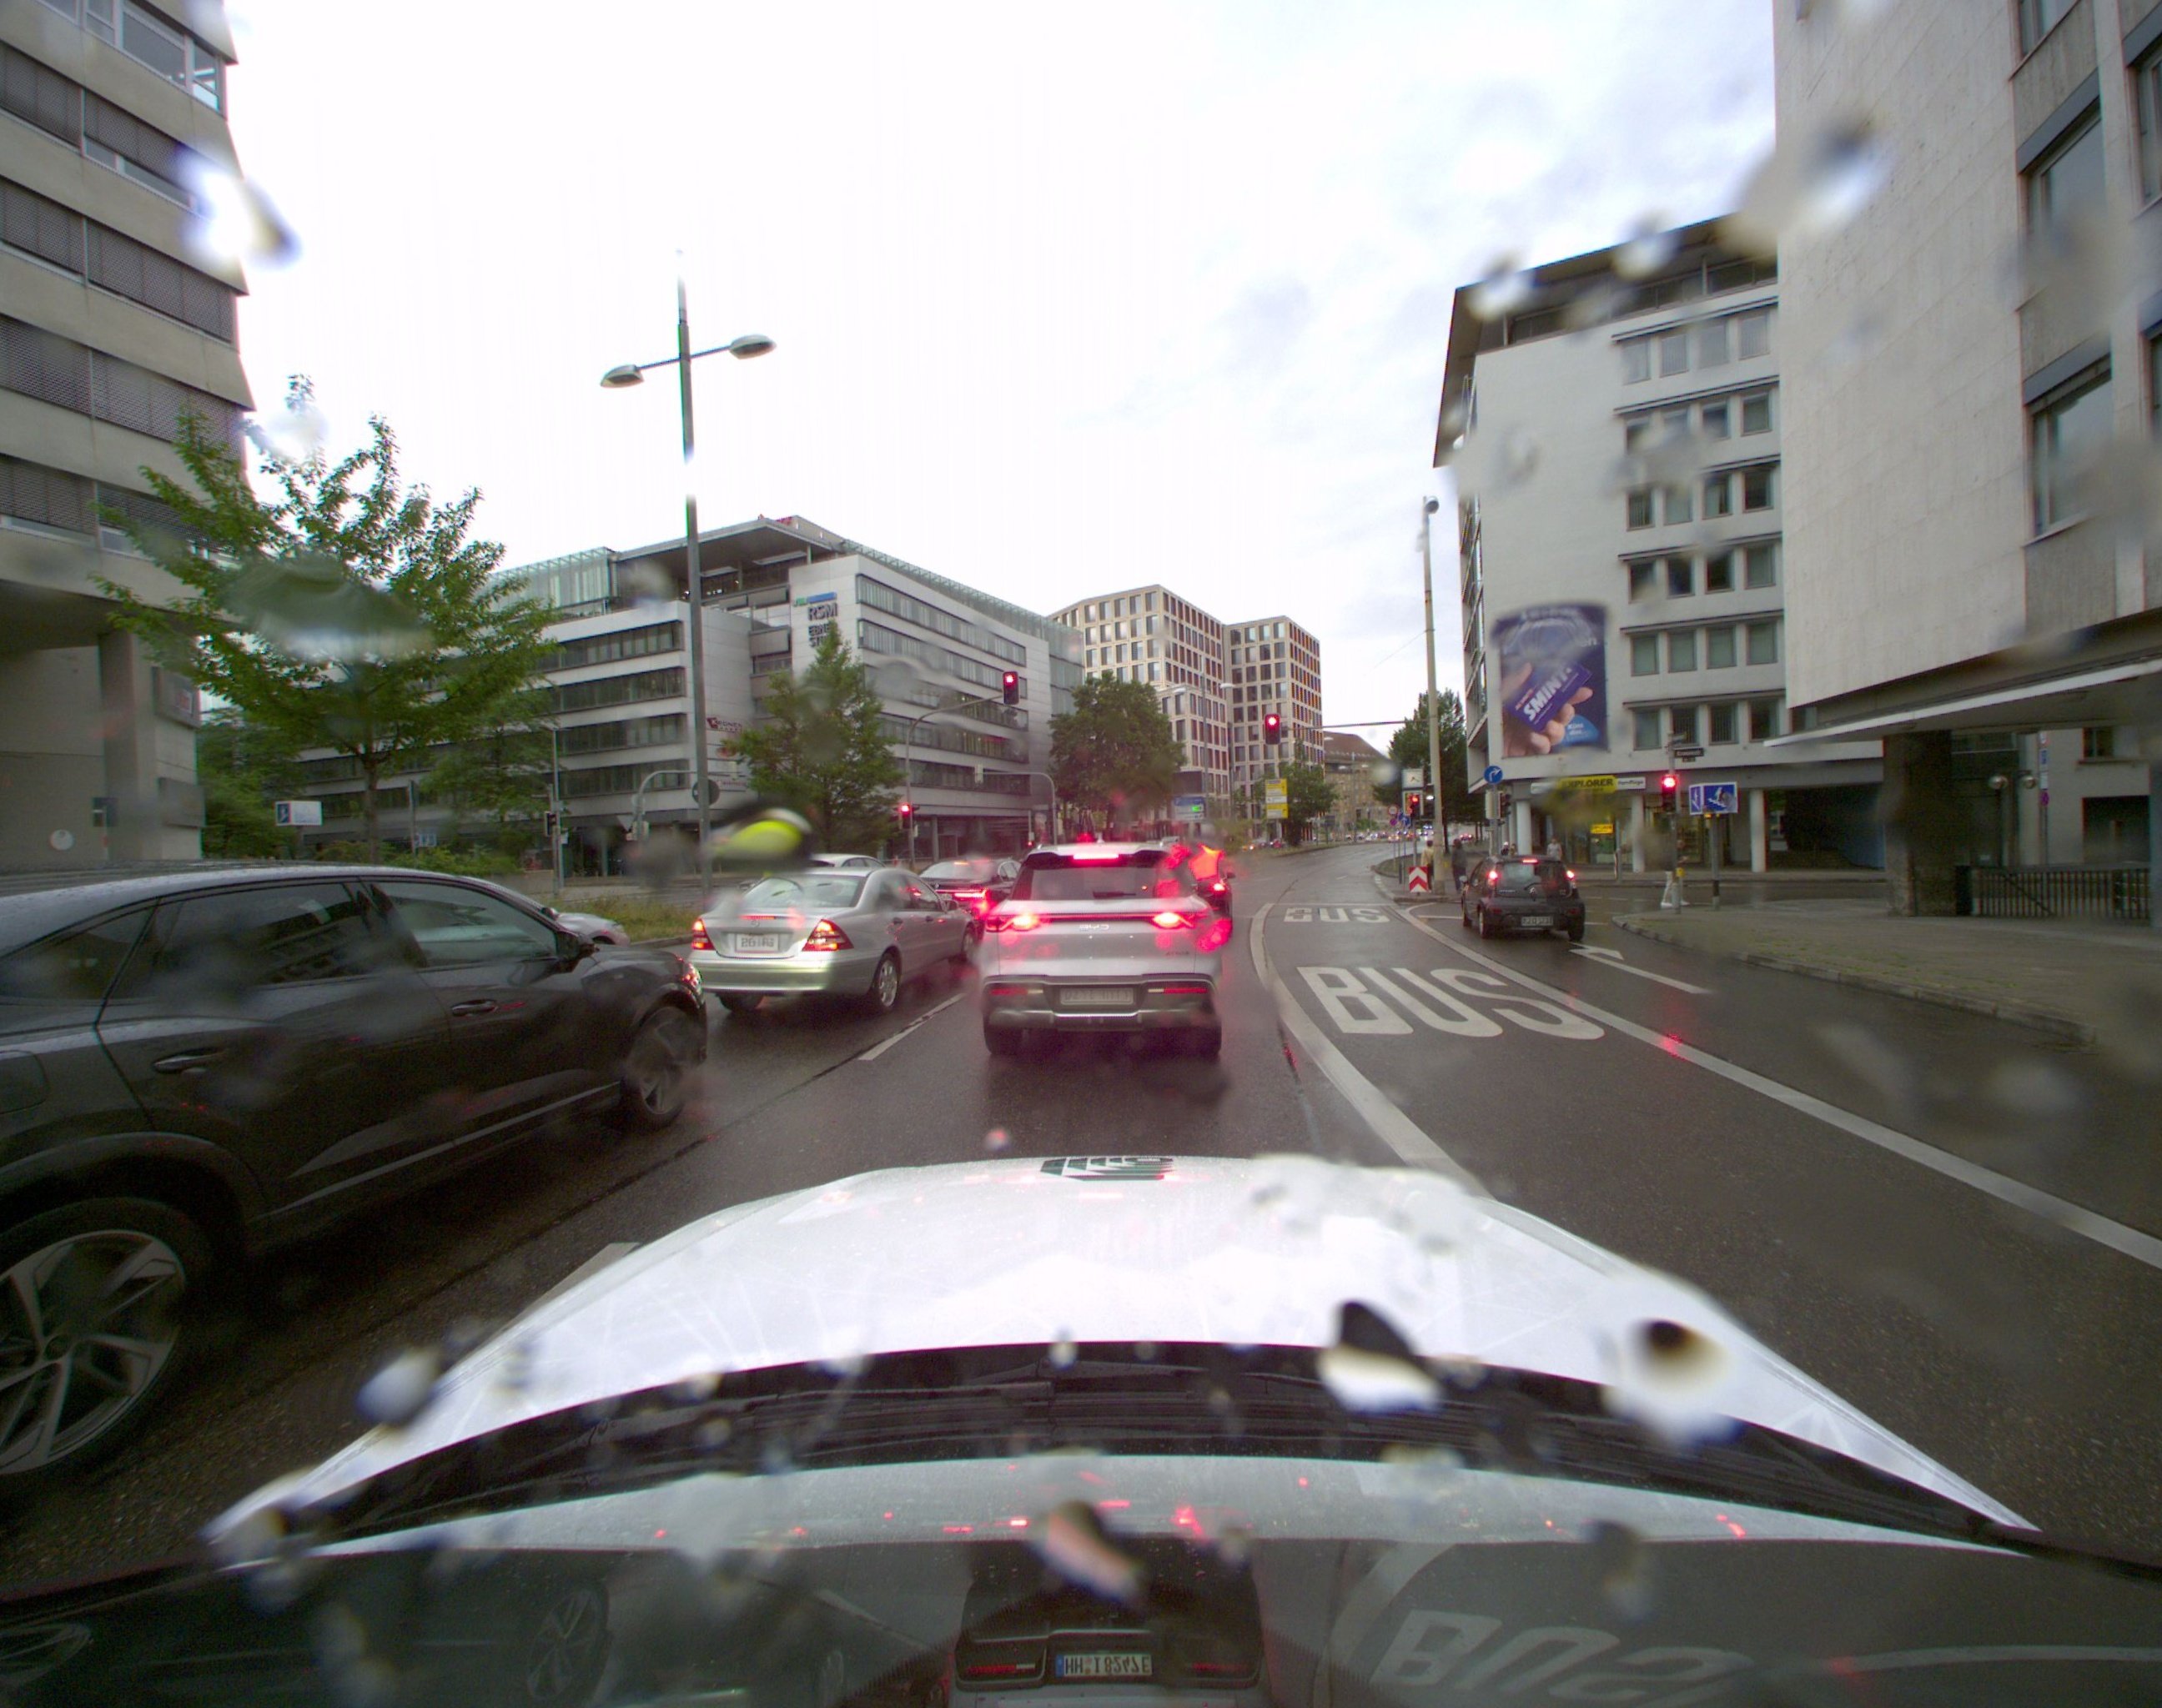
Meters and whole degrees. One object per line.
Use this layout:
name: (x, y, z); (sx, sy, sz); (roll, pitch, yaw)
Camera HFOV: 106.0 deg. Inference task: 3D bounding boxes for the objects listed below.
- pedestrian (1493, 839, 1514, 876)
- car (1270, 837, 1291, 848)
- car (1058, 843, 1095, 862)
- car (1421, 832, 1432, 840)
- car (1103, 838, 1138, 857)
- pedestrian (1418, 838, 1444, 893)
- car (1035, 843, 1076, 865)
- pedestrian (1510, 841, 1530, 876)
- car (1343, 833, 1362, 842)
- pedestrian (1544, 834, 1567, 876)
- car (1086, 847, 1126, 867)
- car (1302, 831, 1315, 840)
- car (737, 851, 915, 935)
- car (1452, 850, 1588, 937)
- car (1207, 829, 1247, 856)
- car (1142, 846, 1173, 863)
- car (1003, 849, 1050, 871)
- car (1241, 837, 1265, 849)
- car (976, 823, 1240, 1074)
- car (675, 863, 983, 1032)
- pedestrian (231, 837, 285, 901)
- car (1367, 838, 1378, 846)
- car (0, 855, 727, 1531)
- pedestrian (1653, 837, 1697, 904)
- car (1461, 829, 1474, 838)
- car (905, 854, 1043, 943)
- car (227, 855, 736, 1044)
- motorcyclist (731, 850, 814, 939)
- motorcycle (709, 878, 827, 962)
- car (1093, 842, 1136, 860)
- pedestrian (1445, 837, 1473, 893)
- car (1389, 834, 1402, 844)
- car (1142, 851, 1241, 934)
pedestrian: (18.919, 0.142, 36.483); (0.657, 1.655, 0.662); (-1, 0, -45)
car: (29.798, -1.713, 121.767); (1.974, 1.488, 4.025); (-1, 1, 29)
car: (-0.362, -0.103, 69.317); (1.623, 1.571, 3.740); (-1, -1, 26)
car: (84.381, -4.421, 199.061); (1.975, 2.013, 4.025); (-1, 0, 29)
car: (3.358, -0.555, 68.505); (1.629, 1.581, 4.109); (-1, 0, 23)
pedestrian: (11.587, 0.373, 27.002); (0.742, 1.798, 0.821); (-1, 1, 22)
car: (-1.802, 0.016, 59.564); (1.630, 1.536, 4.172); (-1, 0, 18)
pedestrian: (19.437, 0.185, 36.040); (0.657, 1.543, 0.618); (-1, 0, -45)
car: (64.570, -4.003, 193.719); (3.949, 2.013, 2.012); (-1, 0, 28)
pedestrian: (20.534, 0.040, 35.233); (0.778, 1.794, 0.662); (-1, 0, -45)
car: (1.839, 0.247, 58.899); (1.675, 1.385, 3.888); (-1, -1, 21)
car: (45.504, -3.667, 162.721); (1.590, 1.741, 3.467); (-1, -1, 34)
car: (-4.965, 0.706, 16.511); (1.696, 1.486, 4.013); (-1, -1, 11)
car: (8.163, 0.668, 15.465); (1.558, 1.429, 4.018); (-1, -1, 18)
car: (11.651, -0.879, 64.689); (1.975, 2.014, 4.876); (-1, -1, 25)
car: (7.880, 0.022, 83.827); (1.616, 1.559, 4.620); (-1, 1, 25)
car: (-4.134, 0.443, 62.134); (1.976, 1.610, 4.022); (-1, 0, 22)
car: (23.496, -1.464, 111.138); (1.974, 1.488, 4.025); (-1, 1, 29)
car: (0.311, 0.657, 7.499); (1.768, 1.679, 4.004); (-1, -1, 4)
car: (-2.443, 0.824, 9.064); (1.561, 1.407, 4.120); (-1, -1, 10)
pedestrian: (-22.102, 0.393, 21.880); (0.672, 1.683, 0.766); (-1, 0, 15)
car: (56.315, -2.355, 157.370); (1.616, 1.437, 3.931); (-1, 1, 25)
car: (-3.240, 0.785, 3.232); (1.642, 1.521, 4.274); (-1, 0, 2)
pedestrian: (15.763, 0.437, 21.635); (0.764, 1.731, 0.599); (-1, 0, 16)
car: (70.643, -3.713, 148.940); (1.677, 1.486, 4.025); (-1, -1, 32)
car: (-1.910, 0.770, 15.787); (1.561, 1.486, 4.010); (-1, -1, 9)
car: (-6.087, 0.803, 9.242); (1.855, 1.533, 4.786); (-1, 0, 7)
motorcyclist: (-4.946, 0.629, 13.123); (0.765, 1.380, 1.121); (-1, -1, 10)
motorcycle: (-4.959, 1.002, 13.066); (0.795, 1.185, 2.034); (-1, -1, 11)
car: (3.158, -0.277, 75.907); (1.796, 1.510, 5.229); (-1, 1, 30)
pedestrian: (12.291, 0.347, 26.515); (0.742, 1.798, 0.821); (-1, 1, 22)
car: (55.693, -2.619, 144.244); (1.871, 1.643, 4.023); (-1, 0, 24)
car: (2.373, 0.710, 16.694); (1.682, 1.486, 4.013); (-1, -1, 12)
